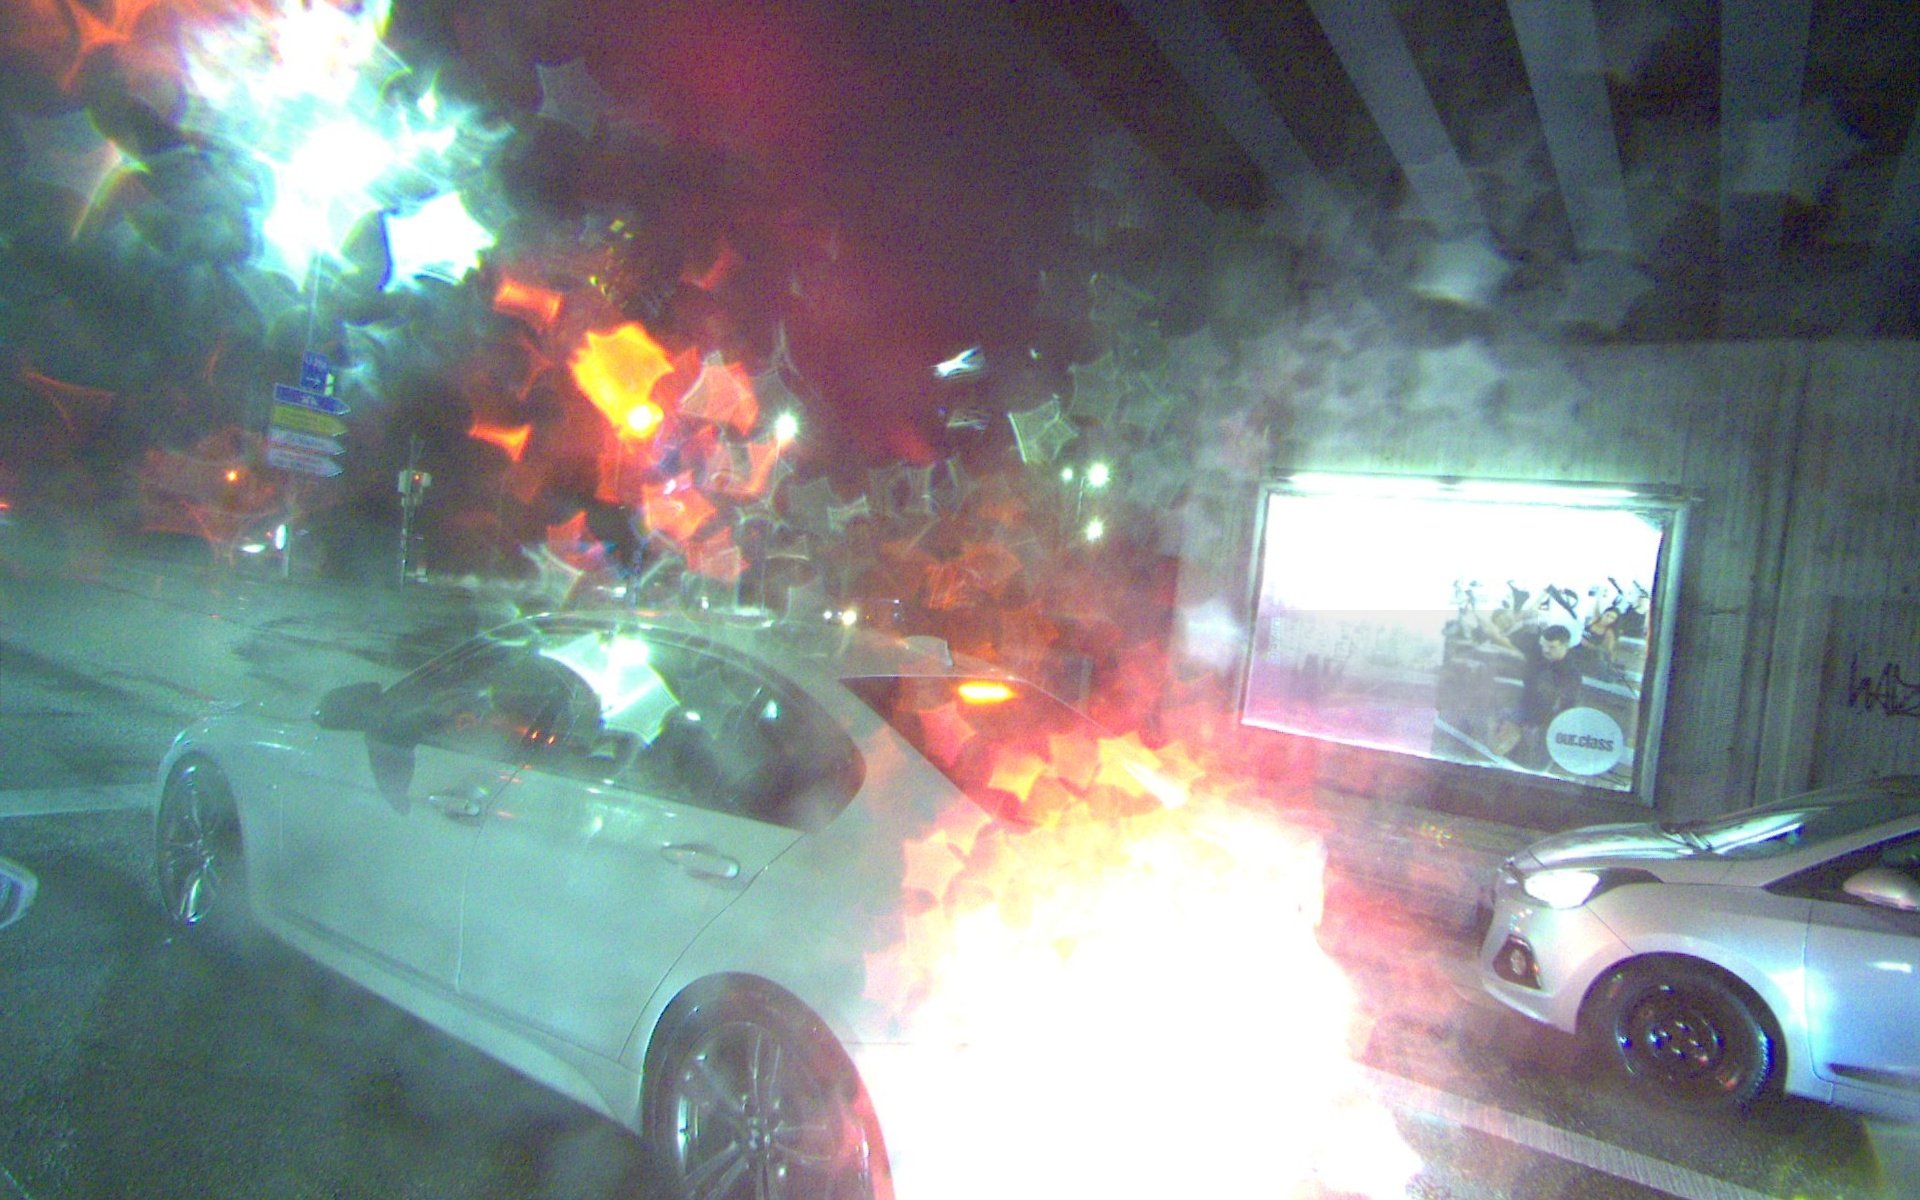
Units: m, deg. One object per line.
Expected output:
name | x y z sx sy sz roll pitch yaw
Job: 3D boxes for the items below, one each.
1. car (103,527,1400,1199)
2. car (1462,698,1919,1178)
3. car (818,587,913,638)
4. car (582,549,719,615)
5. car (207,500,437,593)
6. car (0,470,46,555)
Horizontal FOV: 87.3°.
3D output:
car | -0.970 0.704 3.491 4.277 1.420 1.720 6 -2 32
car | 4.115 1.391 4.045 3.533 1.476 1.637 6 -2 31
car | -4.372 0.622 47.174 1.831 1.769 4.496 6 -2 35
car | -11.223 -0.623 36.798 1.881 1.761 4.386 6 -2 37
car | -17.571 -1.428 27.946 1.941 1.761 4.906 6 -3 36
car | -26.014 -2.485 24.869 4.589 2.037 1.983 9 -2 -33
